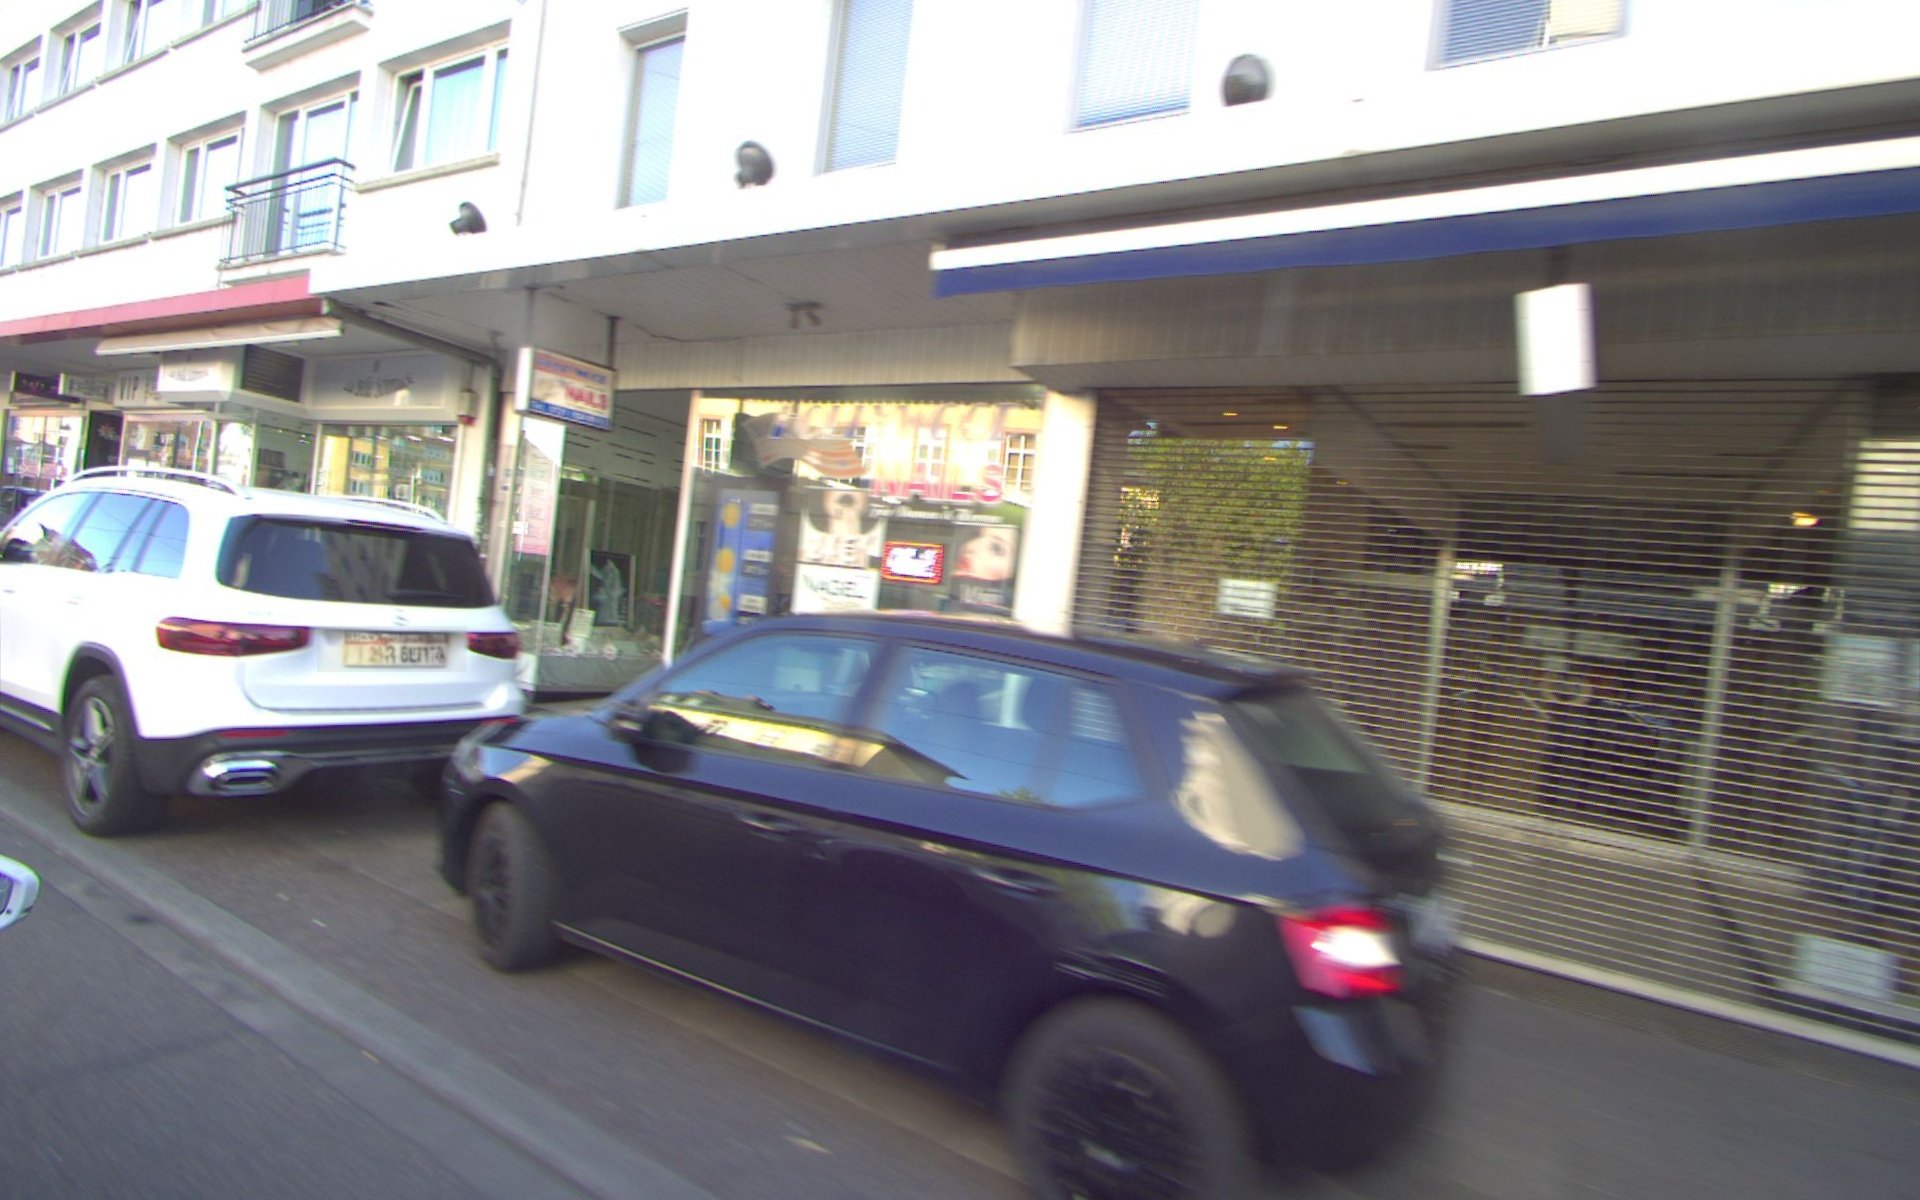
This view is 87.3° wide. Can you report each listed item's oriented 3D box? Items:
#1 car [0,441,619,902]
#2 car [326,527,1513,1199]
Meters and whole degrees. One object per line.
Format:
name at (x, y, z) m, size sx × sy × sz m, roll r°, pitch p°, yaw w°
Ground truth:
car at (-4.547, 0.098, 5.972) m, size 5.107 × 1.746 × 1.851 m, roll 6°, pitch 1°, yaw 32°
car at (-0.371, 0.715, 3.678) m, size 4.003 × 1.547 × 1.616 m, roll 6°, pitch 0°, yaw 32°
